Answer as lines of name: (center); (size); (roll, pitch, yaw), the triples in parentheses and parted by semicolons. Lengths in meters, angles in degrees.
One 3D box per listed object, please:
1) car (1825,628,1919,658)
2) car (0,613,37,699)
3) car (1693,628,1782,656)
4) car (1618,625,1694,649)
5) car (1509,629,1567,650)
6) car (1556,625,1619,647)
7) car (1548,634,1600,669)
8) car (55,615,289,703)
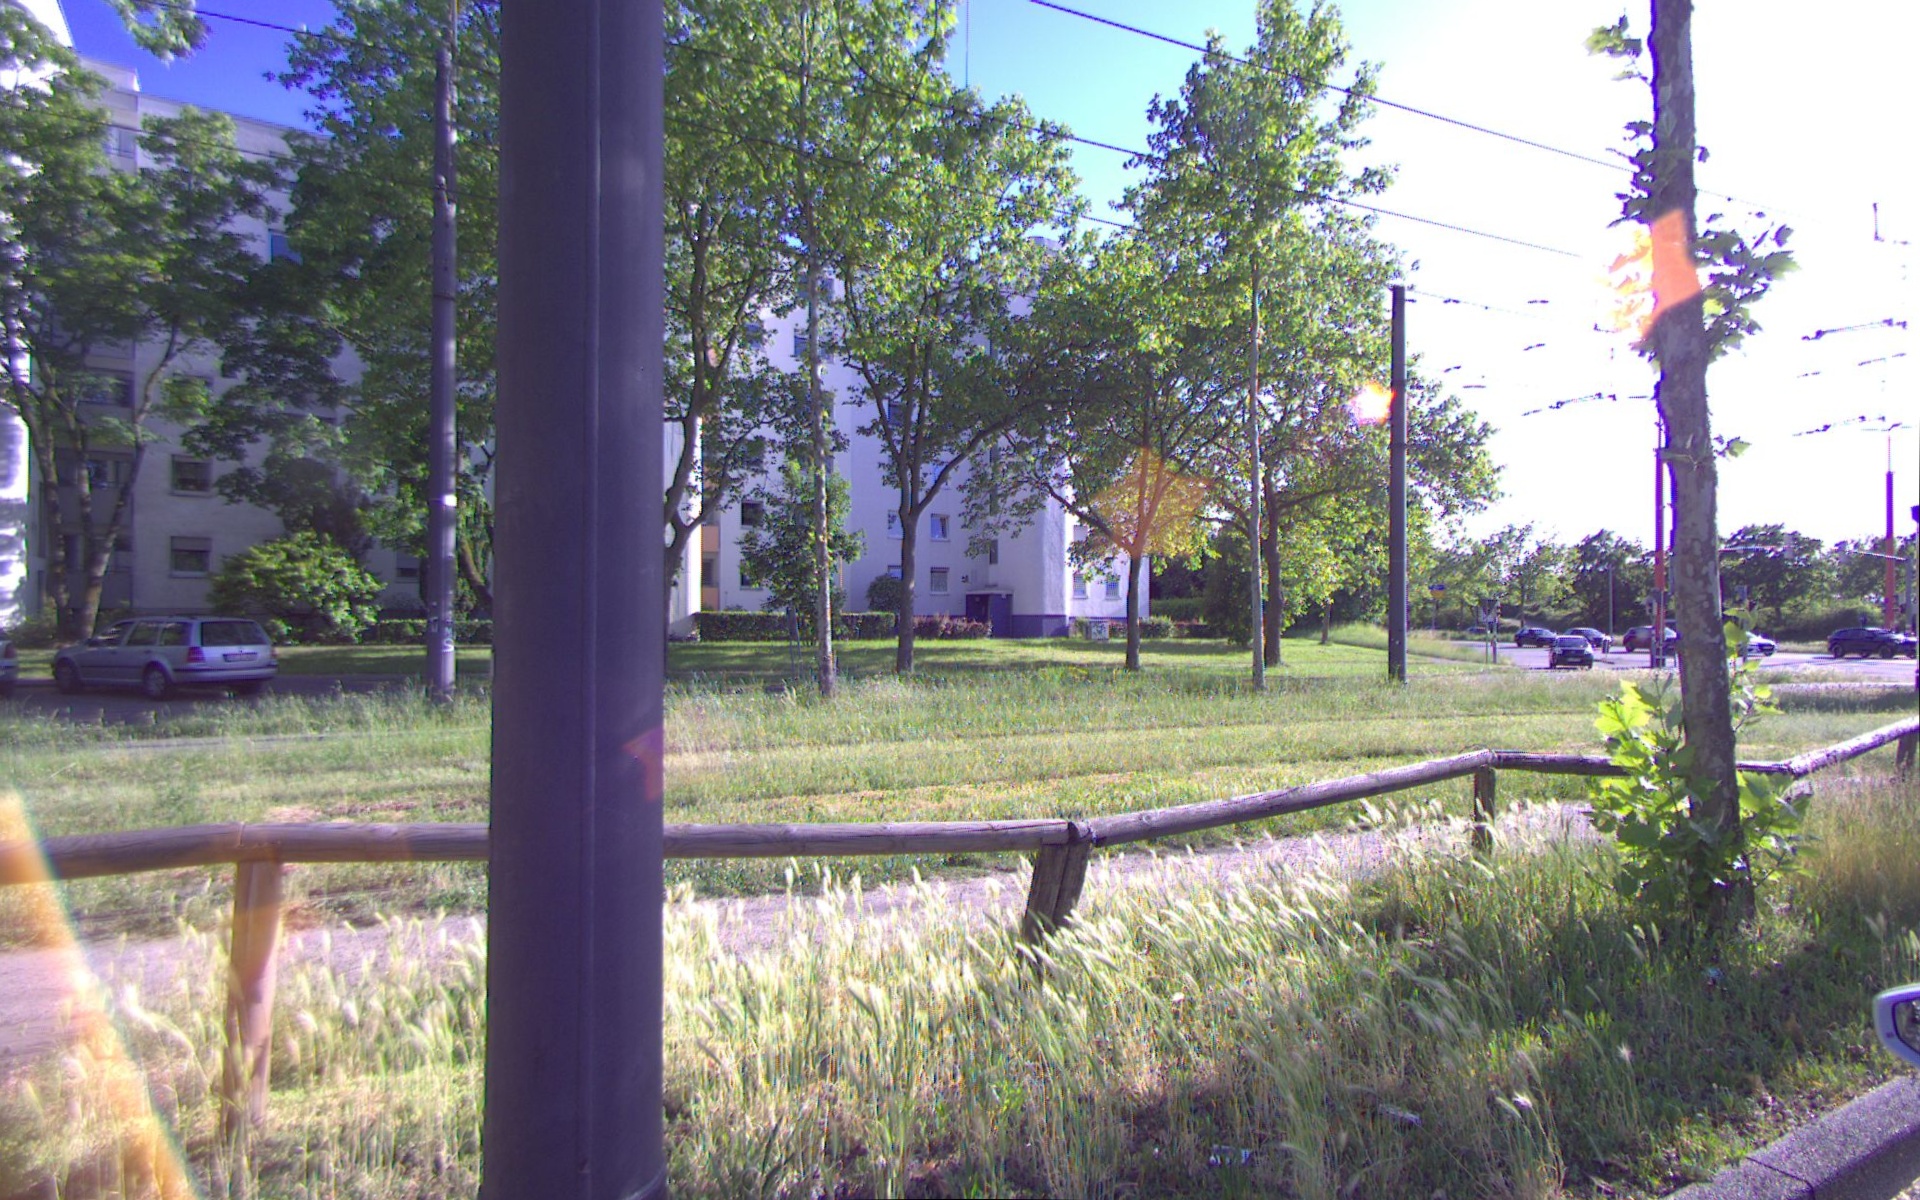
car: (48.945, 2.253, 53.605); (1.877, 1.483, 4.222); (1, -1, -2)
car: (-17.922, 0.923, 17.140); (3.609, 1.452, 1.703); (0, -1, 20)
car: (45.686, 2.448, 59.162); (1.877, 1.483, 4.222); (1, -1, -2)
car: (45.527, 2.403, 65.805); (1.877, 1.483, 4.373); (1, -1, -2)
car: (44.824, 3.040, 77.945); (1.877, 1.483, 4.239); (1, -1, -3)
car: (45.003, 2.561, 72.140); (1.877, 1.483, 4.055); (1, -1, -3)
car: (28.042, 2.320, 45.960); (1.793, 1.439, 3.753); (0, -1, 28)
car: (-14.478, 1.022, 18.484); (3.609, 1.452, 1.732); (0, -1, 20)
